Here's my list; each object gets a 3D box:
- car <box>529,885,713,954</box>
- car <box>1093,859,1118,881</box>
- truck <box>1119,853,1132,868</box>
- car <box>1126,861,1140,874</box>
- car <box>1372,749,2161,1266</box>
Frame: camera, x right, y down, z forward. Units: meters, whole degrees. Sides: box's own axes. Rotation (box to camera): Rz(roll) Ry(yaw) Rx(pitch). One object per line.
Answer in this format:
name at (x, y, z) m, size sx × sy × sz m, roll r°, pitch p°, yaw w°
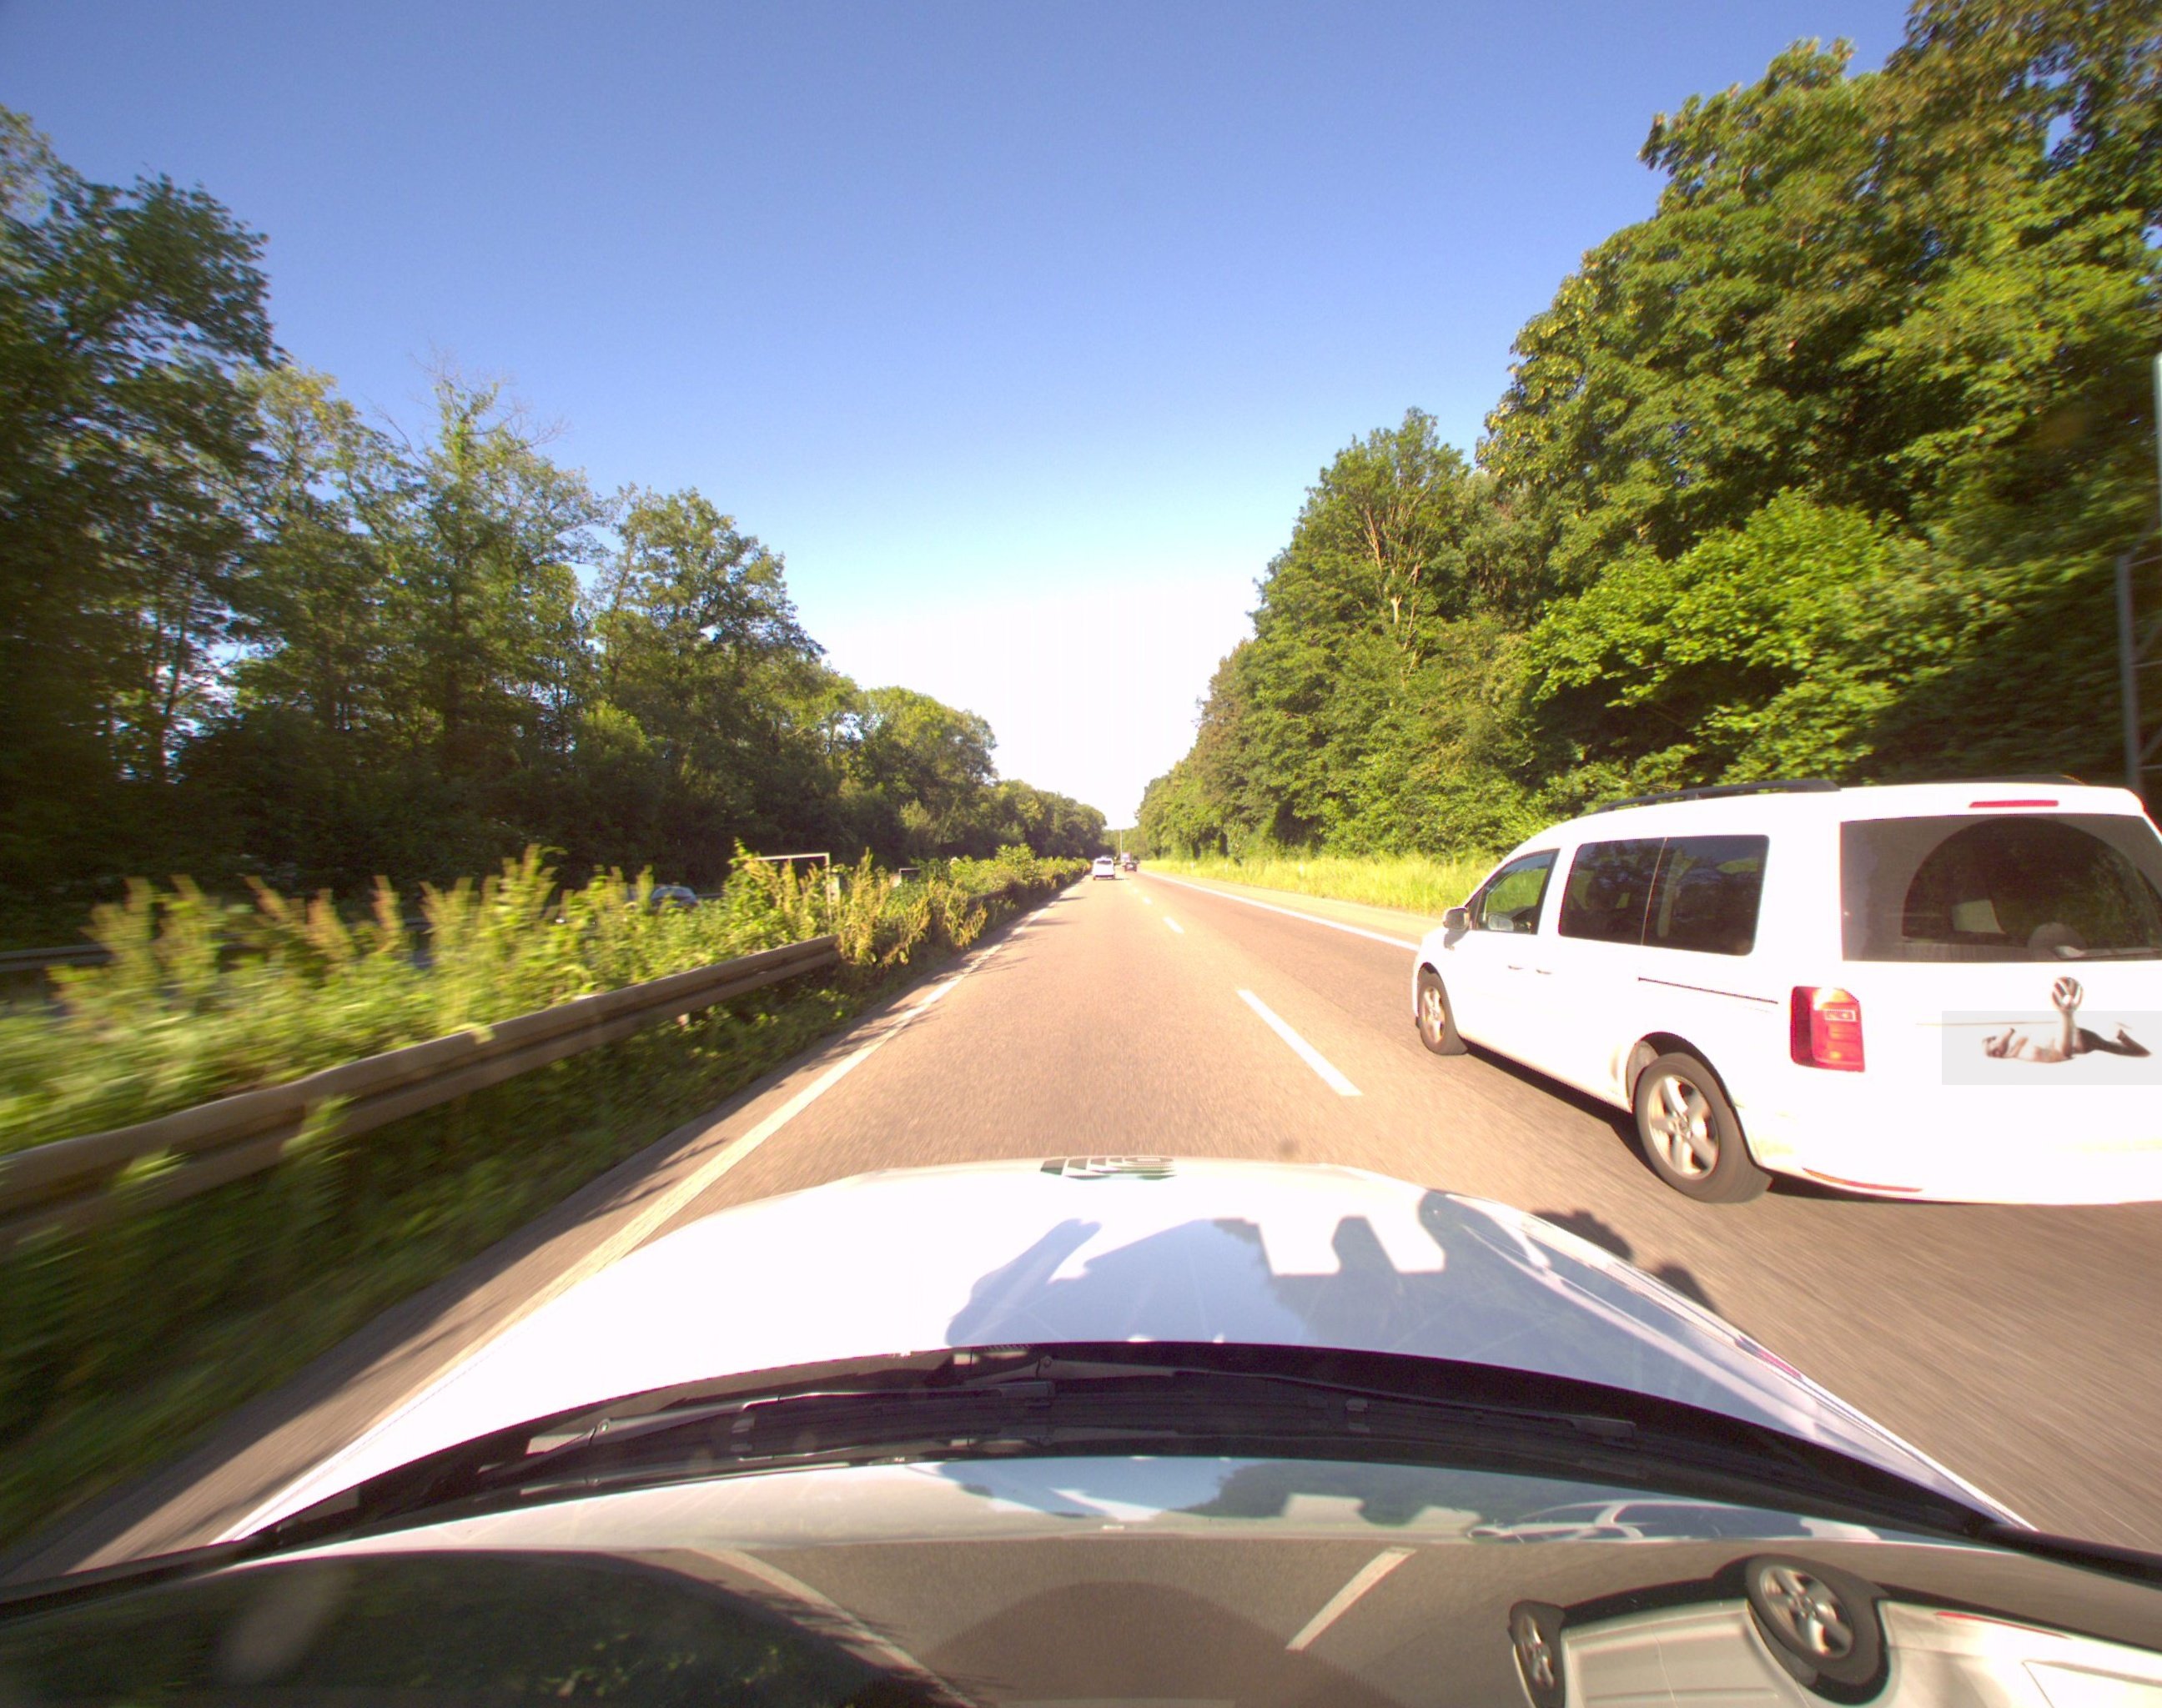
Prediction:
car at (-11.419, 1.563, 20.655) m, size 1.986 × 1.424 × 4.511 m, roll -1°, pitch -1°, yaw 2°
car at (2.048, 1.337, 68.079) m, size 1.944 × 1.782 × 4.588 m, roll -1°, pitch -1°, yaw 1°
truck at (12.780, 1.842, 233.074) m, size 3.719 × 4.344 × 9.311 m, roll -1°, pitch -1°, yaw 3°
car at (7.695, 1.989, 120.514) m, size 1.944 × 1.782 × 4.588 m, roll -1°, pitch -1°, yaw 1°
car at (3.530, 0.571, 5.178) m, size 1.792 × 1.813 × 4.588 m, roll -1°, pitch -1°, yaw 1°
